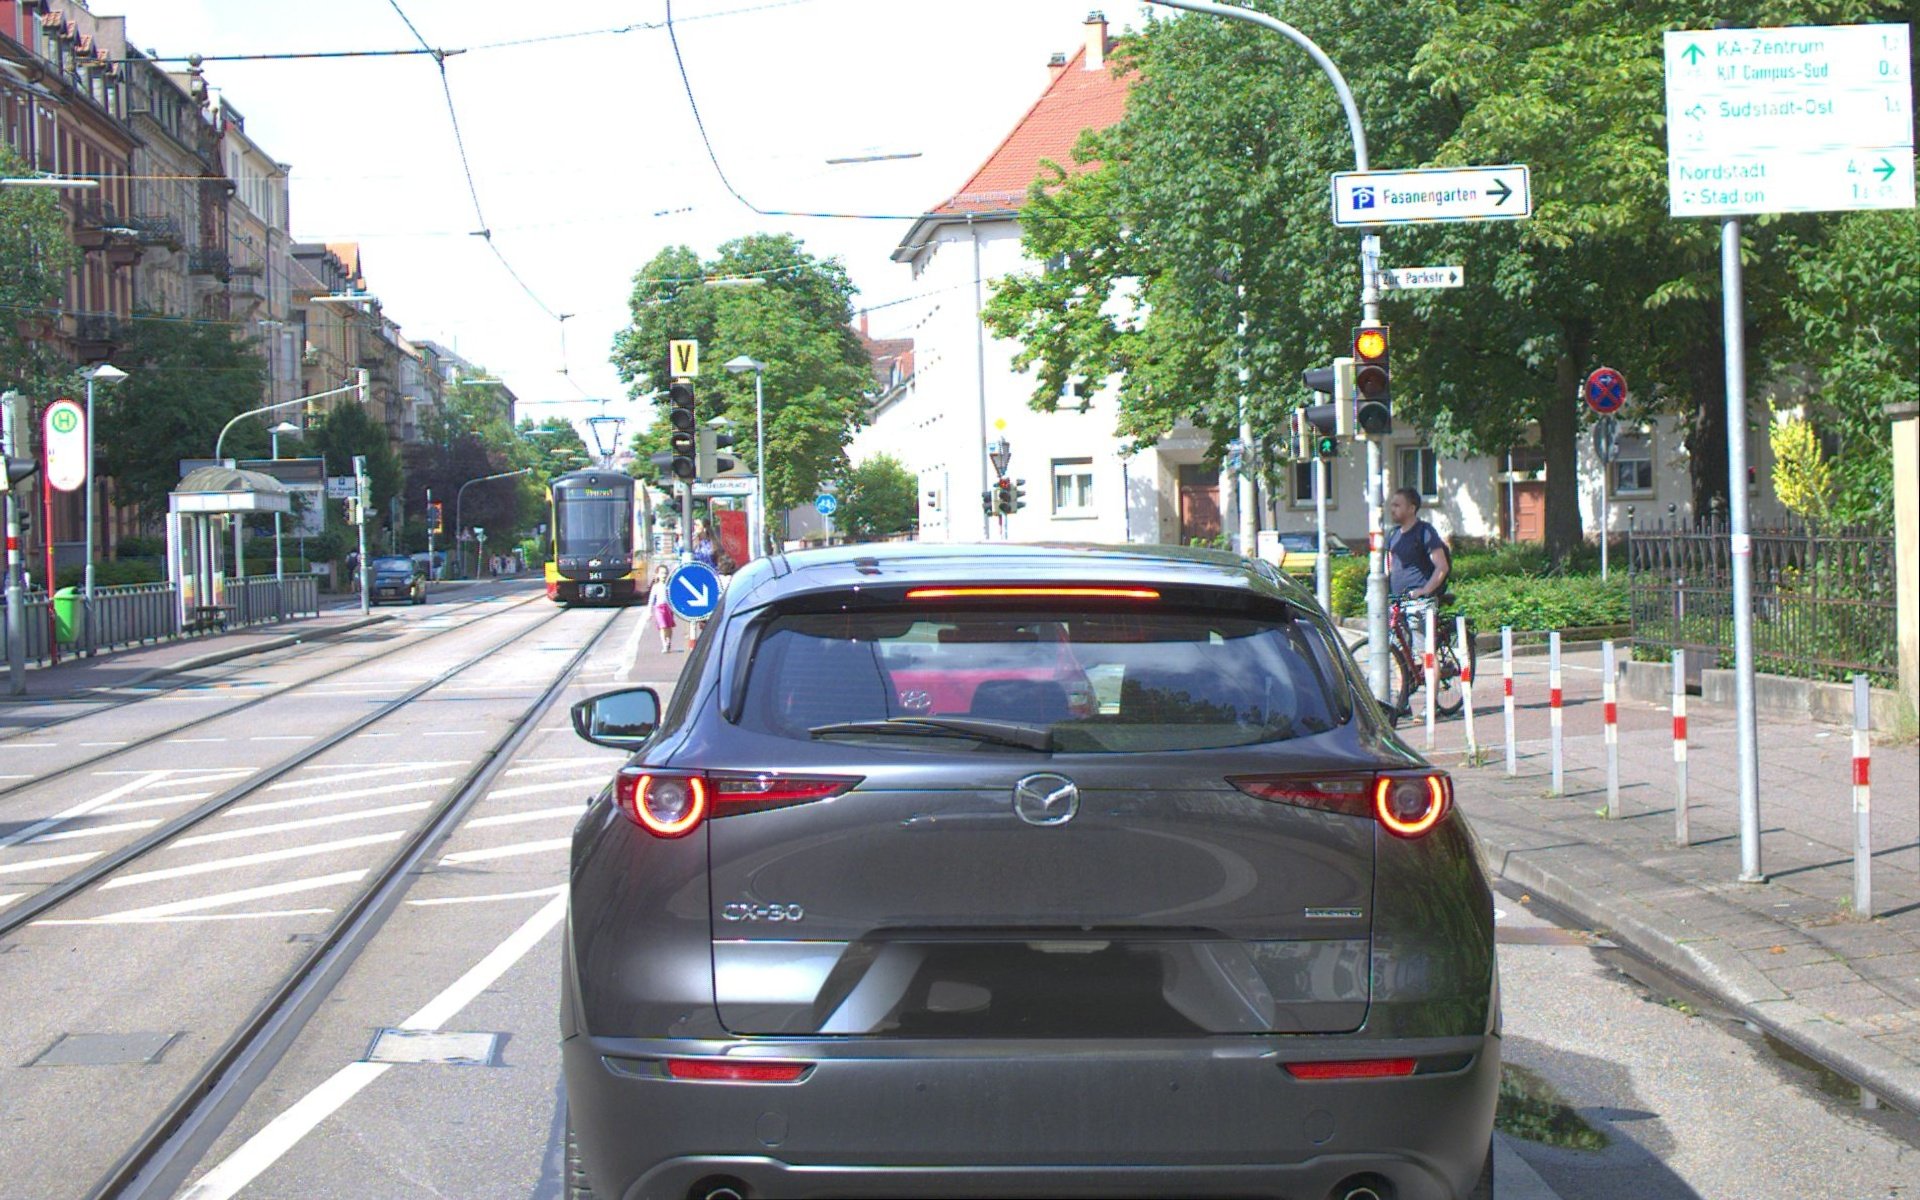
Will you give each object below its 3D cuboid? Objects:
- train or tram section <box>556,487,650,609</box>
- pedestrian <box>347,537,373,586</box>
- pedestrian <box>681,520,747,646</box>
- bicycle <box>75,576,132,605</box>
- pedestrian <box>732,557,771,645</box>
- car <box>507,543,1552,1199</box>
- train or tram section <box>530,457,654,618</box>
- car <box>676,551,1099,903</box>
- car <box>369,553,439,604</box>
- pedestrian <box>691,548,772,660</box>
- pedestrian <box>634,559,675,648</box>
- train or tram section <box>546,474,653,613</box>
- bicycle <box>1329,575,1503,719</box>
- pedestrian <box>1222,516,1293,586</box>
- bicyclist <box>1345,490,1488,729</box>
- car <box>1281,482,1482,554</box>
[{"bbox_3d":[-12.481,-1.746,120.876,2.997,3.970,13.811,-2,0,-5],"label":"train or tram section"},{"bbox_3d":[-21.174,-1.367,121.343,0.788,1.682,0.732,-1,1,-3],"label":"pedestrian"},{"bbox_3d":[-3.112,-0.222,43.408,0.728,1.560,0.799,-2,1,-9],"label":"pedestrian"},{"bbox_3d":[-23.483,-0.264,94.282,0.386,0.745,1.708,-1,1,32],"label":"bicycle"},{"bbox_3d":[-2.677,0.009,44.134,0.442,1.110,0.643,-2,1,-6],"label":"pedestrian"},{"bbox_3d":[0.107,0.644,7.913,1.782,1.509,4.000,1,1,0],"label":"car"},{"bbox_3d":[-9.886,-1.595,93.364,2.997,3.970,13.811,-2,0,-5],"label":"train or tram section"},{"bbox_3d":[-0.403,0.509,16.388,1.775,1.459,3.843,0,1,-3],"label":"car"},{"bbox_3d":[-16.460,-0.654,101.905,1.624,1.382,3.436,-3,1,-3],"label":"car"},{"bbox_3d":[-2.780,0.046,41.781,0.715,1.299,0.828,-4,1,-18],"label":"pedestrian"},{"bbox_3d":[-3.879,0.039,43.612,0.422,1.104,0.439,-4,1,-9],"label":"pedestrian"},{"bbox_3d":[-11.160,-1.673,107.154,2.997,3.970,13.811,-2,0,-5],"label":"train or tram section"},{"bbox_3d":[3.592,0.352,26.977,0.389,1.032,1.841,-1,2,40],"label":"bicycle"},{"bbox_3d":[5.693,-0.940,65.792,1.192,1.264,0.558,-4,1,-9],"label":"pedestrian"},{"bbox_3d":[3.559,0.064,26.856,0.733,1.813,0.820,-2,1,-27],"label":"bicyclist"},{"bbox_3d":[9.632,-1.865,78.623,4.167,1.504,1.848,0,3,38],"label":"car"}]
